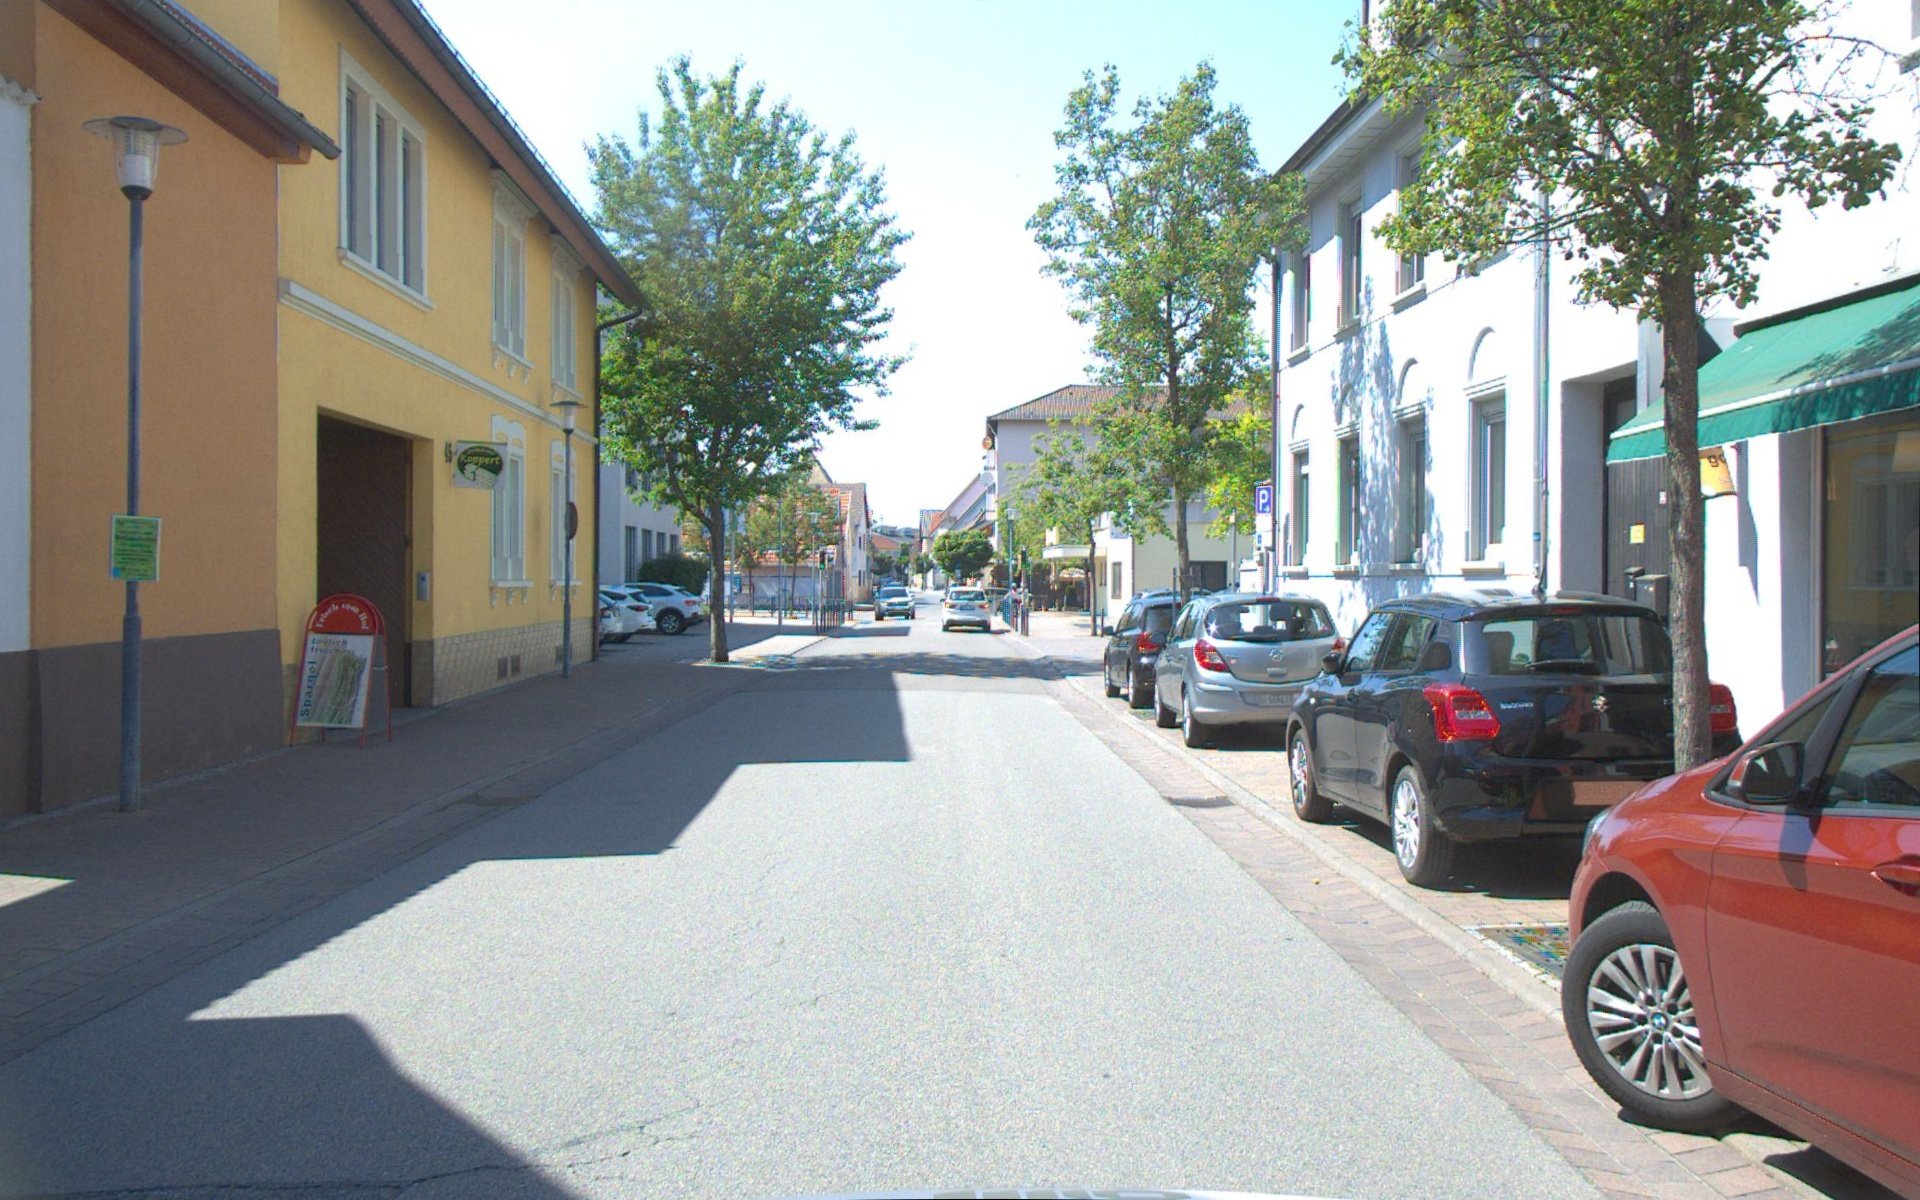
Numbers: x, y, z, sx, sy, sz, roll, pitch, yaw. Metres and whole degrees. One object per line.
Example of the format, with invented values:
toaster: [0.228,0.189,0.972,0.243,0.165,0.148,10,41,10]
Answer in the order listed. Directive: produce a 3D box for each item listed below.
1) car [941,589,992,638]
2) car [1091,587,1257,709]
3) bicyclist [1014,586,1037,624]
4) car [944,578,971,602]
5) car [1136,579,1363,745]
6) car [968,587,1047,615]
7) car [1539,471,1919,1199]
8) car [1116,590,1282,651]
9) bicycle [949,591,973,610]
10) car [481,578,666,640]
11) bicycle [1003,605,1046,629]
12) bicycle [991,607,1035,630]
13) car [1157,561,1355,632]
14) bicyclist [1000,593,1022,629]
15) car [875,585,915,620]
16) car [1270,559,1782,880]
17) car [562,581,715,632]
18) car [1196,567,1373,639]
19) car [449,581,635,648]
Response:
car: [0.244,0.482,61.026,1.796,1.680,4.000,1,1,0]
car: [2.903,0.640,23.177,1.669,1.507,3.920,2,-1,-2]
bicyclist: [3.026,0.246,76.429,0.749,1.693,0.666,-4,1,-25]
car: [-0.150,-0.703,115.480,1.767,1.527,4.001,-1,1,1]
car: [2.946,0.577,17.633,1.682,1.507,4.096,2,0,0]
car: [2.776,0.037,97.036,4.342,1.489,1.882,-2,1,-11]
car: [2.877,0.539,3.354,1.793,1.616,4.085,0,0,-3]
car: [7.093,0.588,49.299,4.489,1.539,1.913,-3,1,-7]
bicycle: [0.043,0.042,106.557,0.523,1.214,1.648,-2,0,-44]
car: [-10.111,0.230,43.491,4.412,1.581,1.934,0,0,-1]
bicycle: [2.977,0.776,76.410,1.865,0.974,0.671,-4,1,-24]
bicycle: [2.403,0.823,75.122,1.865,0.974,0.671,2,0,-24]
car: [7.302,-0.095,41.038,4.450,1.465,1.837,-3,1,-7]
bicyclist: [2.297,0.505,75.076,0.749,1.609,0.666,2,0,-24]
car: [-3.118,0.097,79.806,1.813,1.601,3.999,-1,1,-1]
car: [3.086,0.578,9.861,1.702,1.540,3.734,0,0,-1]
car: [-10.040,0.188,51.866,4.416,1.581,2.147,0,1,-3]
car: [7.538,0.049,38.556,3.659,1.477,1.742,-3,1,-7]
car: [-9.660,0.315,38.451,3.907,1.476,1.807,0,1,-3]
